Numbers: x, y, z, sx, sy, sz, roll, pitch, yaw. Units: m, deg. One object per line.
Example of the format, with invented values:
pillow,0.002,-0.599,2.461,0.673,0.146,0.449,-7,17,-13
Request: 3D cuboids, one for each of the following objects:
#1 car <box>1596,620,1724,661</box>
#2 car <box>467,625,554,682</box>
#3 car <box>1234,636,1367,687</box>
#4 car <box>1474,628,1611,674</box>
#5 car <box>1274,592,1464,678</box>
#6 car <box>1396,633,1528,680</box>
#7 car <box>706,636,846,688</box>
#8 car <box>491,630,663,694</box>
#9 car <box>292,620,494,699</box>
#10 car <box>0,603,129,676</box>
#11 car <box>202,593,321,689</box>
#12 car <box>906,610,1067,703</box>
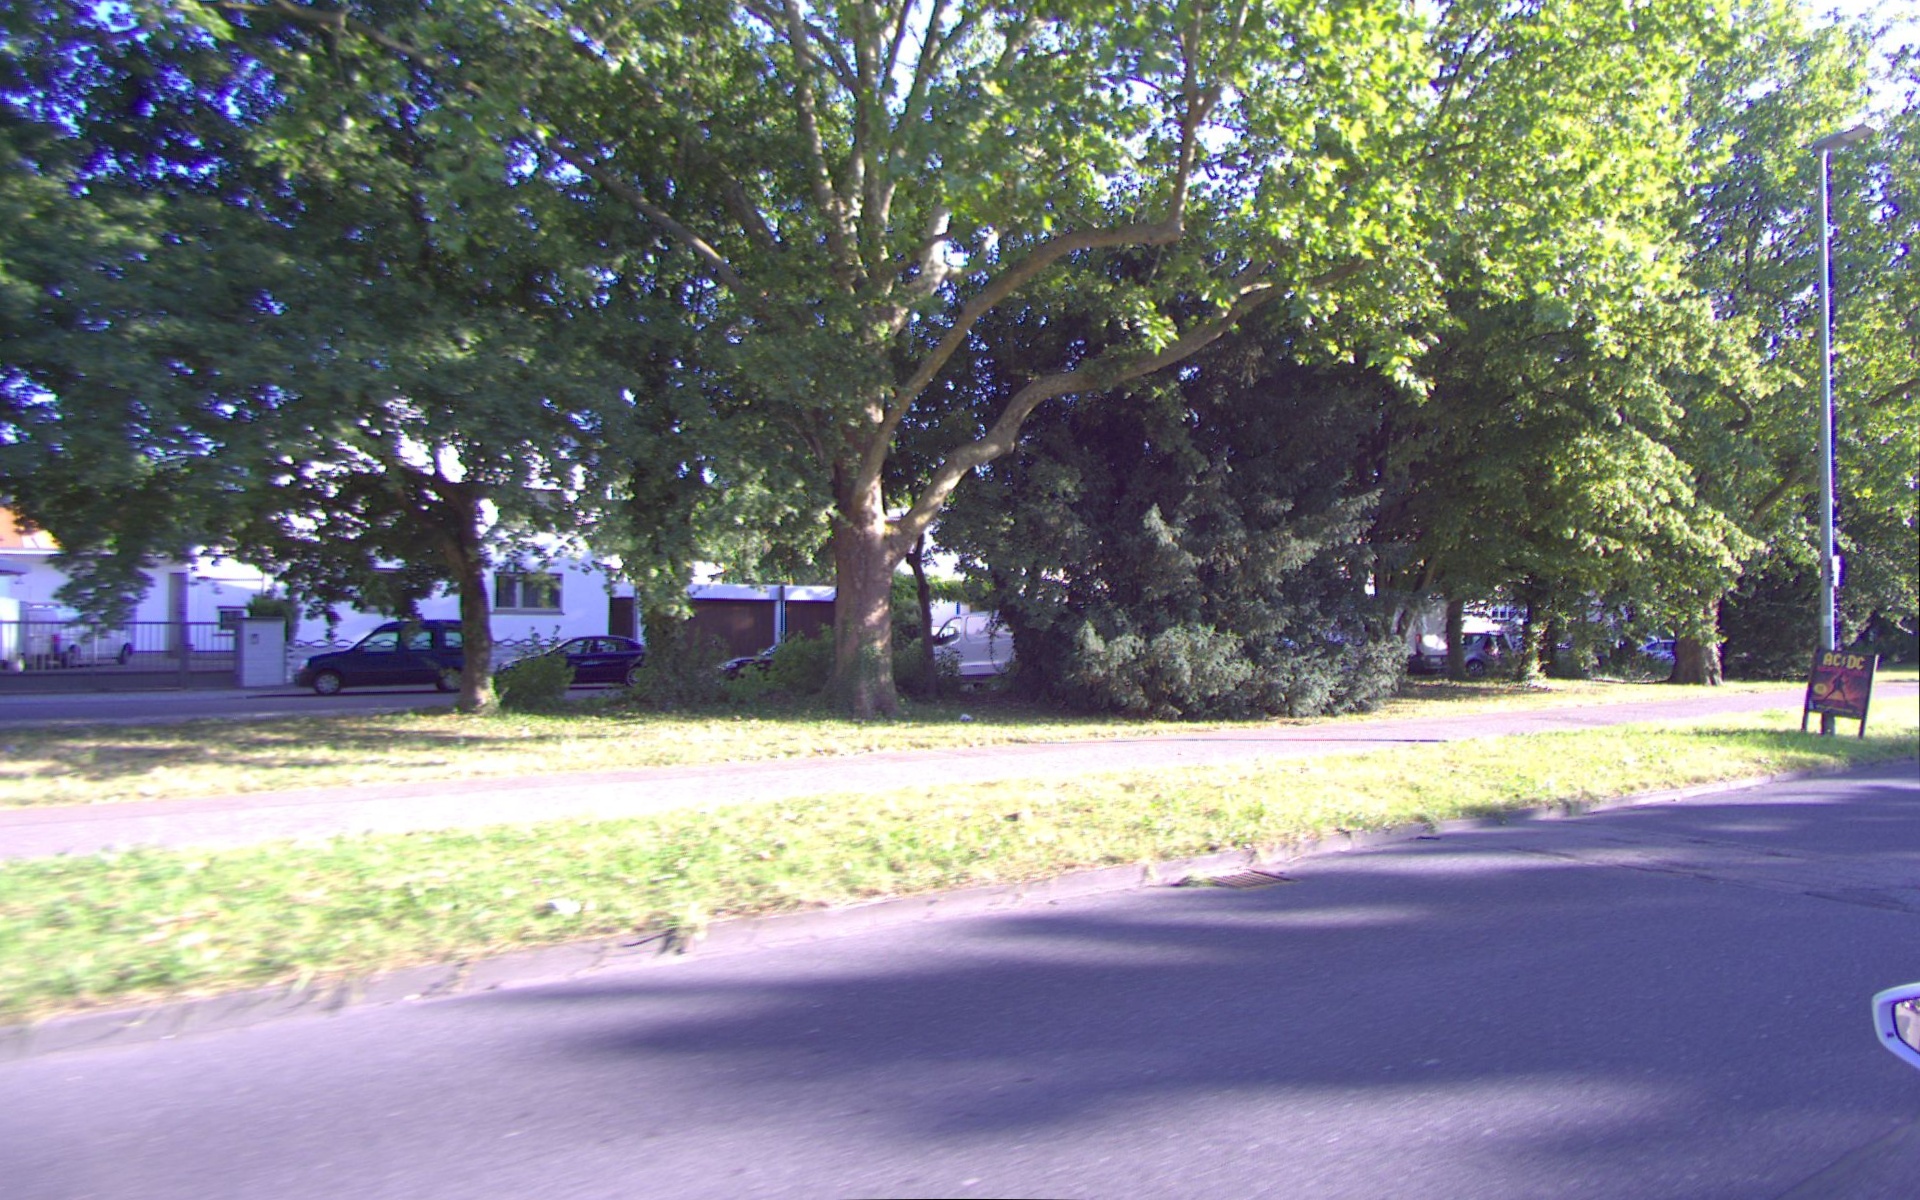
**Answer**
car,28.751,1.635,41.342,1.895,1.528,3.958,2,-1,-37
car,-13.371,1.542,29.760,1.903,1.572,3.967,1,-2,-31
car,10.032,1.768,29.786,1.676,1.400,3.459,1,-2,-35
car,21.963,1.908,37.994,1.936,1.617,4.092,2,-3,-38
car,13.087,1.201,32.519,2.163,2.534,5.400,1,-4,-33
car,17.362,1.920,34.862,1.795,1.520,3.703,1,-2,-34
car,-5.413,1.804,29.667,3.721,1.459,1.769,1,-3,-32
car,-10.148,1.623,26.690,4.024,1.574,1.817,1,-4,-32
car,-13.758,1.438,24.543,4.128,1.763,1.884,1,-4,-32
car,-29.972,1.288,33.420,1.966,2.278,3.990,1,-2,-13
car,-18.500,1.073,26.806,1.974,2.319,4.300,1,-2,-27
car,0.587,1.298,24.806,1.891,2.072,3.956,-1,0,-38
